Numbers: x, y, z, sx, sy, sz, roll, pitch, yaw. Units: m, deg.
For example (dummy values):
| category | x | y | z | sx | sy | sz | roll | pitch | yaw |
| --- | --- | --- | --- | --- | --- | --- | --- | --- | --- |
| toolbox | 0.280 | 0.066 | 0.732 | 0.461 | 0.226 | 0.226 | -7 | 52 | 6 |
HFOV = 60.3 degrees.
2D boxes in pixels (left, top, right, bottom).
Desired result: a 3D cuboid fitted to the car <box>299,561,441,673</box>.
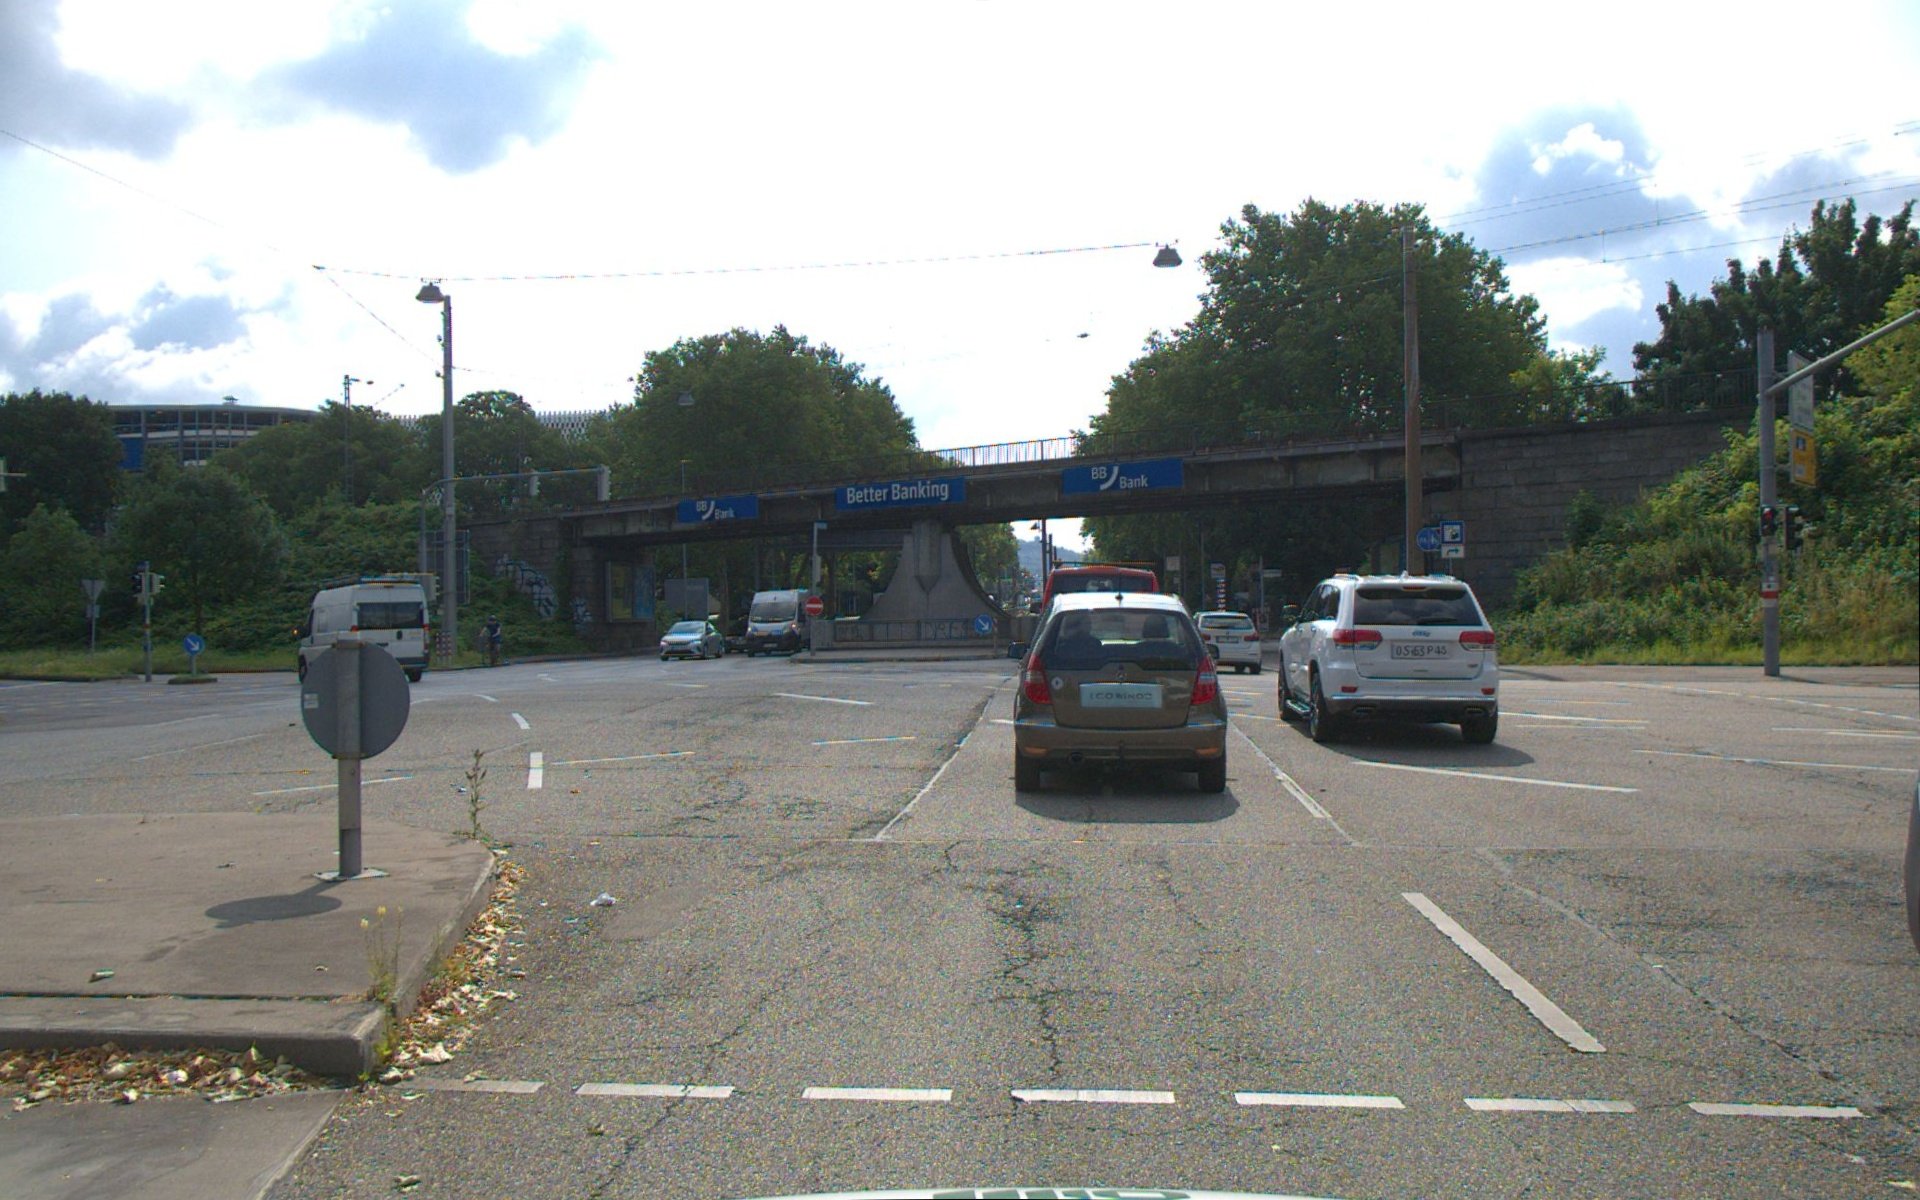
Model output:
| category | x | y | z | sx | sy | sz | roll | pitch | yaw |
| --- | --- | --- | --- | --- | --- | --- | --- | --- | --- |
| car | -15.507 | 0.460 | 43.318 | 2.181 | 2.774 | 4.867 | -1 | -1 | -36 |

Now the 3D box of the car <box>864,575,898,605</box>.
| category | x | y | z | sx | sy | sz | roll | pitch | yaw |
| --- | --- | --- | --- | --- | --- | --- | --- | --- | --- |
| car | -7.164 | -0.908 | 150.973 | 2.197 | 2.623 | 5.629 | -2 | -1 | 6 |

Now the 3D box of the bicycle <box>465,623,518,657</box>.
| category | x | y | z | sx | sy | sz | roll | pitch | yaw |
| --- | --- | --- | --- | --- | --- | --- | --- | --- | --- |
| bicycle | -16.609 | 1.409 | 58.731 | 0.824 | 1.112 | 2.320 | -1 | 0 | 11 |

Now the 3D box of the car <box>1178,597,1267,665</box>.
| category | x | y | z | sx | sy | sz | roll | pitch | yaw |
| --- | --- | --- | --- | --- | --- | --- | --- | --- | --- |
| car | 6.281 | 0.752 | 39.843 | 1.813 | 1.548 | 3.618 | 0 | -1 | 4 |

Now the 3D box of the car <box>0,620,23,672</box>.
| category | x | y | z | sx | sy | sz | roll | pitch | yaw |
| --- | --- | --- | --- | --- | --- | --- | --- | --- | --- |
| car | -32.231 | 1.453 | 53.776 | 4.282 | 1.615 | 1.704 | 1 | 0 | 41 |

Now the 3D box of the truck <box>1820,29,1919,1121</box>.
| category | x | y | z | sx | sy | sz | roll | pitch | yaw |
| --- | --- | --- | --- | --- | --- | --- | --- | --- | --- |
| truck | 3.885 | -0.097 | 2.337 | 2.396 | 3.176 | 6.029 | 0 | -1 | 2 |

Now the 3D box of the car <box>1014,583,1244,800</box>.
| category | x | y | z | sx | sy | sz | roll | pitch | yaw |
| --- | --- | --- | --- | --- | --- | --- | --- | --- | --- |
| car | 1.427 | 0.675 | 14.558 | 1.754 | 1.636 | 3.801 | 0 | 1 | 4 |

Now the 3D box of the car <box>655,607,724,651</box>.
| category | x | y | z | sx | sy | sz | roll | pitch | yaw |
| --- | --- | --- | --- | --- | --- | --- | --- | --- | --- |
| car | -10.189 | 1.071 | 62.471 | 1.667 | 1.502 | 4.001 | -4 | -1 | 3 |

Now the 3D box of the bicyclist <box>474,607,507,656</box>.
| category | x | y | z | sx | sy | sz | roll | pitch | yaw |
| --- | --- | --- | --- | --- | --- | --- | --- | --- | --- |
| bicyclist | -16.635 | 1.115 | 58.647 | 0.824 | 1.708 | 0.824 | 0 | 0 | 11 |

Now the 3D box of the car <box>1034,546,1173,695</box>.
| category | x | y | z | sx | sy | sz | roll | pitch | yaw |
| --- | --- | --- | --- | --- | --- | --- | --- | --- | --- |
| car | 2.169 | 0.231 | 25.433 | 1.914 | 2.052 | 4.679 | -1 | 1 | 4 |

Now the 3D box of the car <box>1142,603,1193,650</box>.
| category | x | y | z | sx | sy | sz | roll | pitch | yaw |
| --- | --- | --- | --- | --- | --- | --- | --- | --- | --- |
| car | 6.962 | 0.901 | 55.590 | 1.511 | 1.548 | 3.618 | 0 | -1 | 4 |

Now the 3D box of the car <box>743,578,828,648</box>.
| category | x | y | z | sx | sy | sz | roll | pitch | yaw |
| --- | --- | --- | --- | --- | --- | --- | --- | --- | --- |
| car | -6.737 | 0.522 | 64.528 | 2.210 | 2.570 | 5.630 | -1 | -1 | 5 |

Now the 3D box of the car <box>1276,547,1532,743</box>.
| category | x | y | z | sx | sy | sz | roll | pitch | yaw |
| --- | --- | --- | --- | --- | --- | --- | --- | --- | --- |
| car | 4.842 | 0.405 | 18.699 | 1.953 | 1.934 | 4.512 | -1 | 1 | 4 |

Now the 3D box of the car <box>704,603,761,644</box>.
| category | x | y | z | sx | sy | sz | roll | pitch | yaw |
| --- | --- | --- | --- | --- | --- | --- | --- | --- | --- |
| car | -10.006 | 1.031 | 72.986 | 1.729 | 1.610 | 4.663 | -5 | -1 | 0 |
